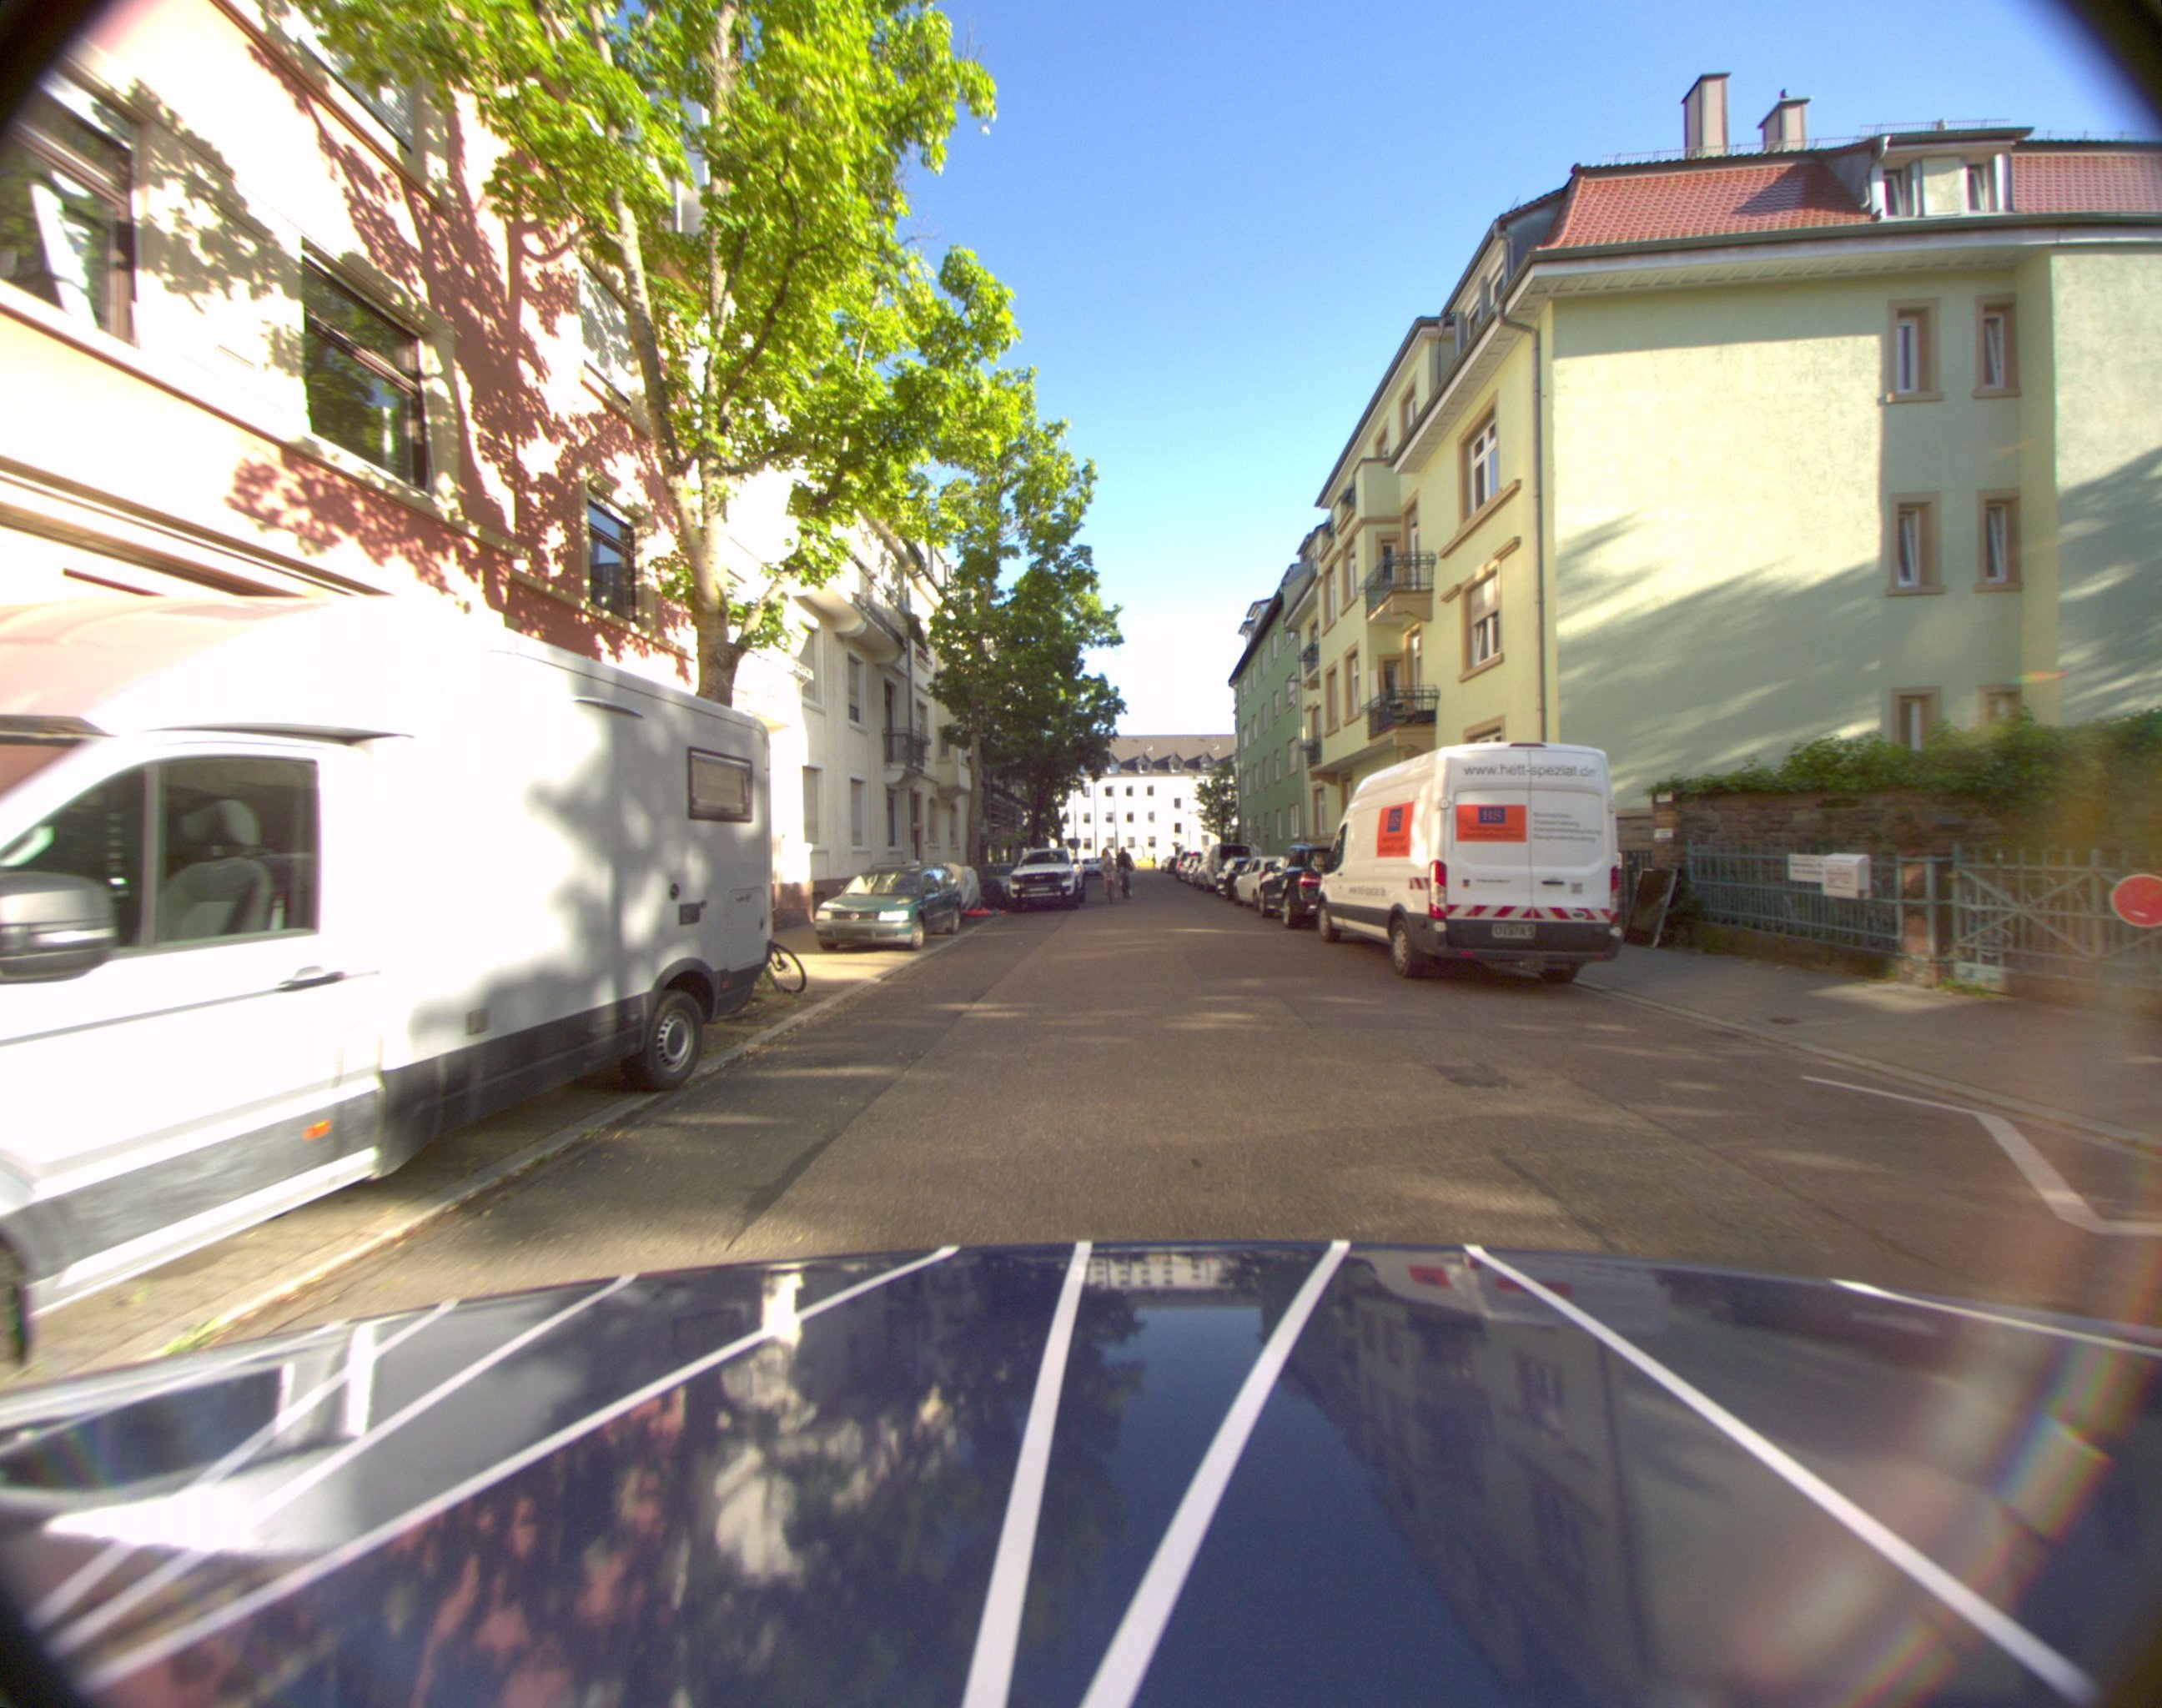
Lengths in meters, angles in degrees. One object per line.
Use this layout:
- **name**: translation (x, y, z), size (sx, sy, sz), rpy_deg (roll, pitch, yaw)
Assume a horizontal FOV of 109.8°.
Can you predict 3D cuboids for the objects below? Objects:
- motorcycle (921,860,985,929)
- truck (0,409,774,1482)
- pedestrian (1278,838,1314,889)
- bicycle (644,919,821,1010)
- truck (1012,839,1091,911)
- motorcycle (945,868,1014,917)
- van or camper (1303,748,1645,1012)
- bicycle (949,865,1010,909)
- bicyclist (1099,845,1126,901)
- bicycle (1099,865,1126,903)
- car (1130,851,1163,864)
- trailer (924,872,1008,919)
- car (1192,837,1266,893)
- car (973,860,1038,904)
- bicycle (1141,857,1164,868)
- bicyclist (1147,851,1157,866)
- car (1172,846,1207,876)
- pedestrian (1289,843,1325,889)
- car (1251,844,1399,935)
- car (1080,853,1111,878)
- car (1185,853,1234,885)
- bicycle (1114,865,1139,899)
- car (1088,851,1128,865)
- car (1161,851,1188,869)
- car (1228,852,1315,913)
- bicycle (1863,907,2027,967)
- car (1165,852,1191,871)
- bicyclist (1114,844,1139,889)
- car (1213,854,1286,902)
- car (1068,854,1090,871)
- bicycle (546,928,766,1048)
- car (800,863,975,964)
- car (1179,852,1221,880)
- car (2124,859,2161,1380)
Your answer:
- **motorcycle**: translation (-3.001, 0.923, 18.040), size (0.932, 1.477, 2.139), rpy_deg (-2, 0, 5)
- **truck**: translation (-3.925, 0.238, 3.733), size (2.078, 2.951, 6.110), rpy_deg (1, 0, 3)
- **pedestrian**: translation (8.112, 0.361, 28.738), size (0.995, 1.850, 1.243), rpy_deg (-2, 1, 3)
- **bicycle**: translation (-4.030, 1.277, 8.839), size (1.789, 0.943, 0.579), rpy_deg (-2, 1, 5)
- **truck**: translation (-0.786, 0.580, 23.753), size (1.832, 1.937, 5.542), rpy_deg (-2, 0, 4)
- **motorcycle**: translation (-2.835, 1.054, 21.313), size (1.768, 1.233, 0.700), rpy_deg (-2, 1, -36)
- **van or camper**: translation (4.963, 0.249, 10.911), size (2.133, 2.753, 5.852), rpy_deg (1, 1, 3)
- **bicycle**: translation (-3.154, 1.026, 23.646), size (1.763, 1.297, 0.586), rpy_deg (-1, 1, 2)
- **bicyclist**: translation (1.004, 0.585, 24.057), size (0.716, 1.679, 0.981), rpy_deg (-4, 1, 3)
- **bicycle**: translation (1.012, 0.936, 23.975), size (0.707, 1.039, 1.858), rpy_deg (-5, 1, 5)
- **car**: translation (7.663, 0.381, 88.913), size (3.612, 1.440, 1.553), rpy_deg (-2, 2, -5)
- **trailer**: translation (-3.032, 1.065, 19.968), size (2.087, 1.106, 1.115), rpy_deg (-2, 1, -10)
- **car**: translation (6.205, 0.419, 32.531), size (2.257, 2.156, 5.243), rpy_deg (1, 1, 2)
- **car**: translation (-2.638, 0.943, 27.552), size (1.684, 1.414, 4.431), rpy_deg (0, 0, 3)
- **bicycle**: translation (6.778, 0.791, 71.959), size (2.102, 0.892, 0.601), rpy_deg (-2, 1, -3)
- **bicyclist**: translation (6.726, 0.458, 71.947), size (0.897, 1.361, 0.563), rpy_deg (-2, 2, -4)
- **car**: translation (7.038, 0.389, 49.512), size (1.775, 1.832, 4.416), rpy_deg (1, 1, 2)
- **pedestrian**: translation (8.554, 0.434, 28.838), size (0.995, 1.665, 1.243), rpy_deg (-2, 1, 3)
- **car**: translation (5.109, 0.659, 16.690), size (1.879, 1.675, 4.970), rpy_deg (1, 0, 3)
- **car**: translation (1.064, 0.761, 52.602), size (1.806, 1.526, 3.965), rpy_deg (-2, 0, 5)
- **car**: translation (6.388, 0.723, 38.178), size (1.837, 1.454, 4.363), rpy_deg (1, 1, 3)
- **bicycle**: translation (1.612, 0.978, 26.966), size (0.741, 1.054, 1.857), rpy_deg (-3, 1, 0)
- **car**: translation (3.095, 0.491, 88.592), size (4.492, 1.498, 1.944), rpy_deg (-2, 0, -3)
- **car**: translation (8.260, 0.485, 67.455), size (1.723, 1.546, 4.072), rpy_deg (1, 0, -2)
- **car**: translation (5.330, 0.732, 21.760), size (1.639, 1.543, 4.089), rpy_deg (0, 1, 3)
- **bicycle**: translation (10.163, 0.958, 9.006), size (0.405, 0.537, 1.433), rpy_deg (-2, 0, 5)
- **car**: translation (7.914, 0.560, 62.113), size (1.770, 1.444, 4.208), rpy_deg (2, 0, 3)
- **bicyclist**: translation (1.597, 0.430, 26.956), size (0.757, 1.556, 0.981), rpy_deg (-3, 1, 0)
- **car**: translation (5.760, 0.754, 26.500), size (1.770, 1.512, 4.826), rpy_deg (0, 0, 4)
- **car**: translation (-0.128, 0.703, 65.850), size (1.665, 1.399, 4.508), rpy_deg (2, 0, 3)
- **bicycle**: translation (-4.091, 1.277, 7.414), size (1.707, 0.994, 0.706), rpy_deg (-2, 1, -3)
- **car**: translation (-3.423, 0.975, 14.485), size (1.754, 1.520, 4.782), rpy_deg (0, 0, 5)
- **car**: translation (6.692, 0.661, 43.193), size (1.724, 1.454, 4.506), rpy_deg (1, 1, 1)
- **car**: translation (4.064, 0.833, 0.106), size (1.784, 1.581, 4.469), rpy_deg (1, 0, 3)
